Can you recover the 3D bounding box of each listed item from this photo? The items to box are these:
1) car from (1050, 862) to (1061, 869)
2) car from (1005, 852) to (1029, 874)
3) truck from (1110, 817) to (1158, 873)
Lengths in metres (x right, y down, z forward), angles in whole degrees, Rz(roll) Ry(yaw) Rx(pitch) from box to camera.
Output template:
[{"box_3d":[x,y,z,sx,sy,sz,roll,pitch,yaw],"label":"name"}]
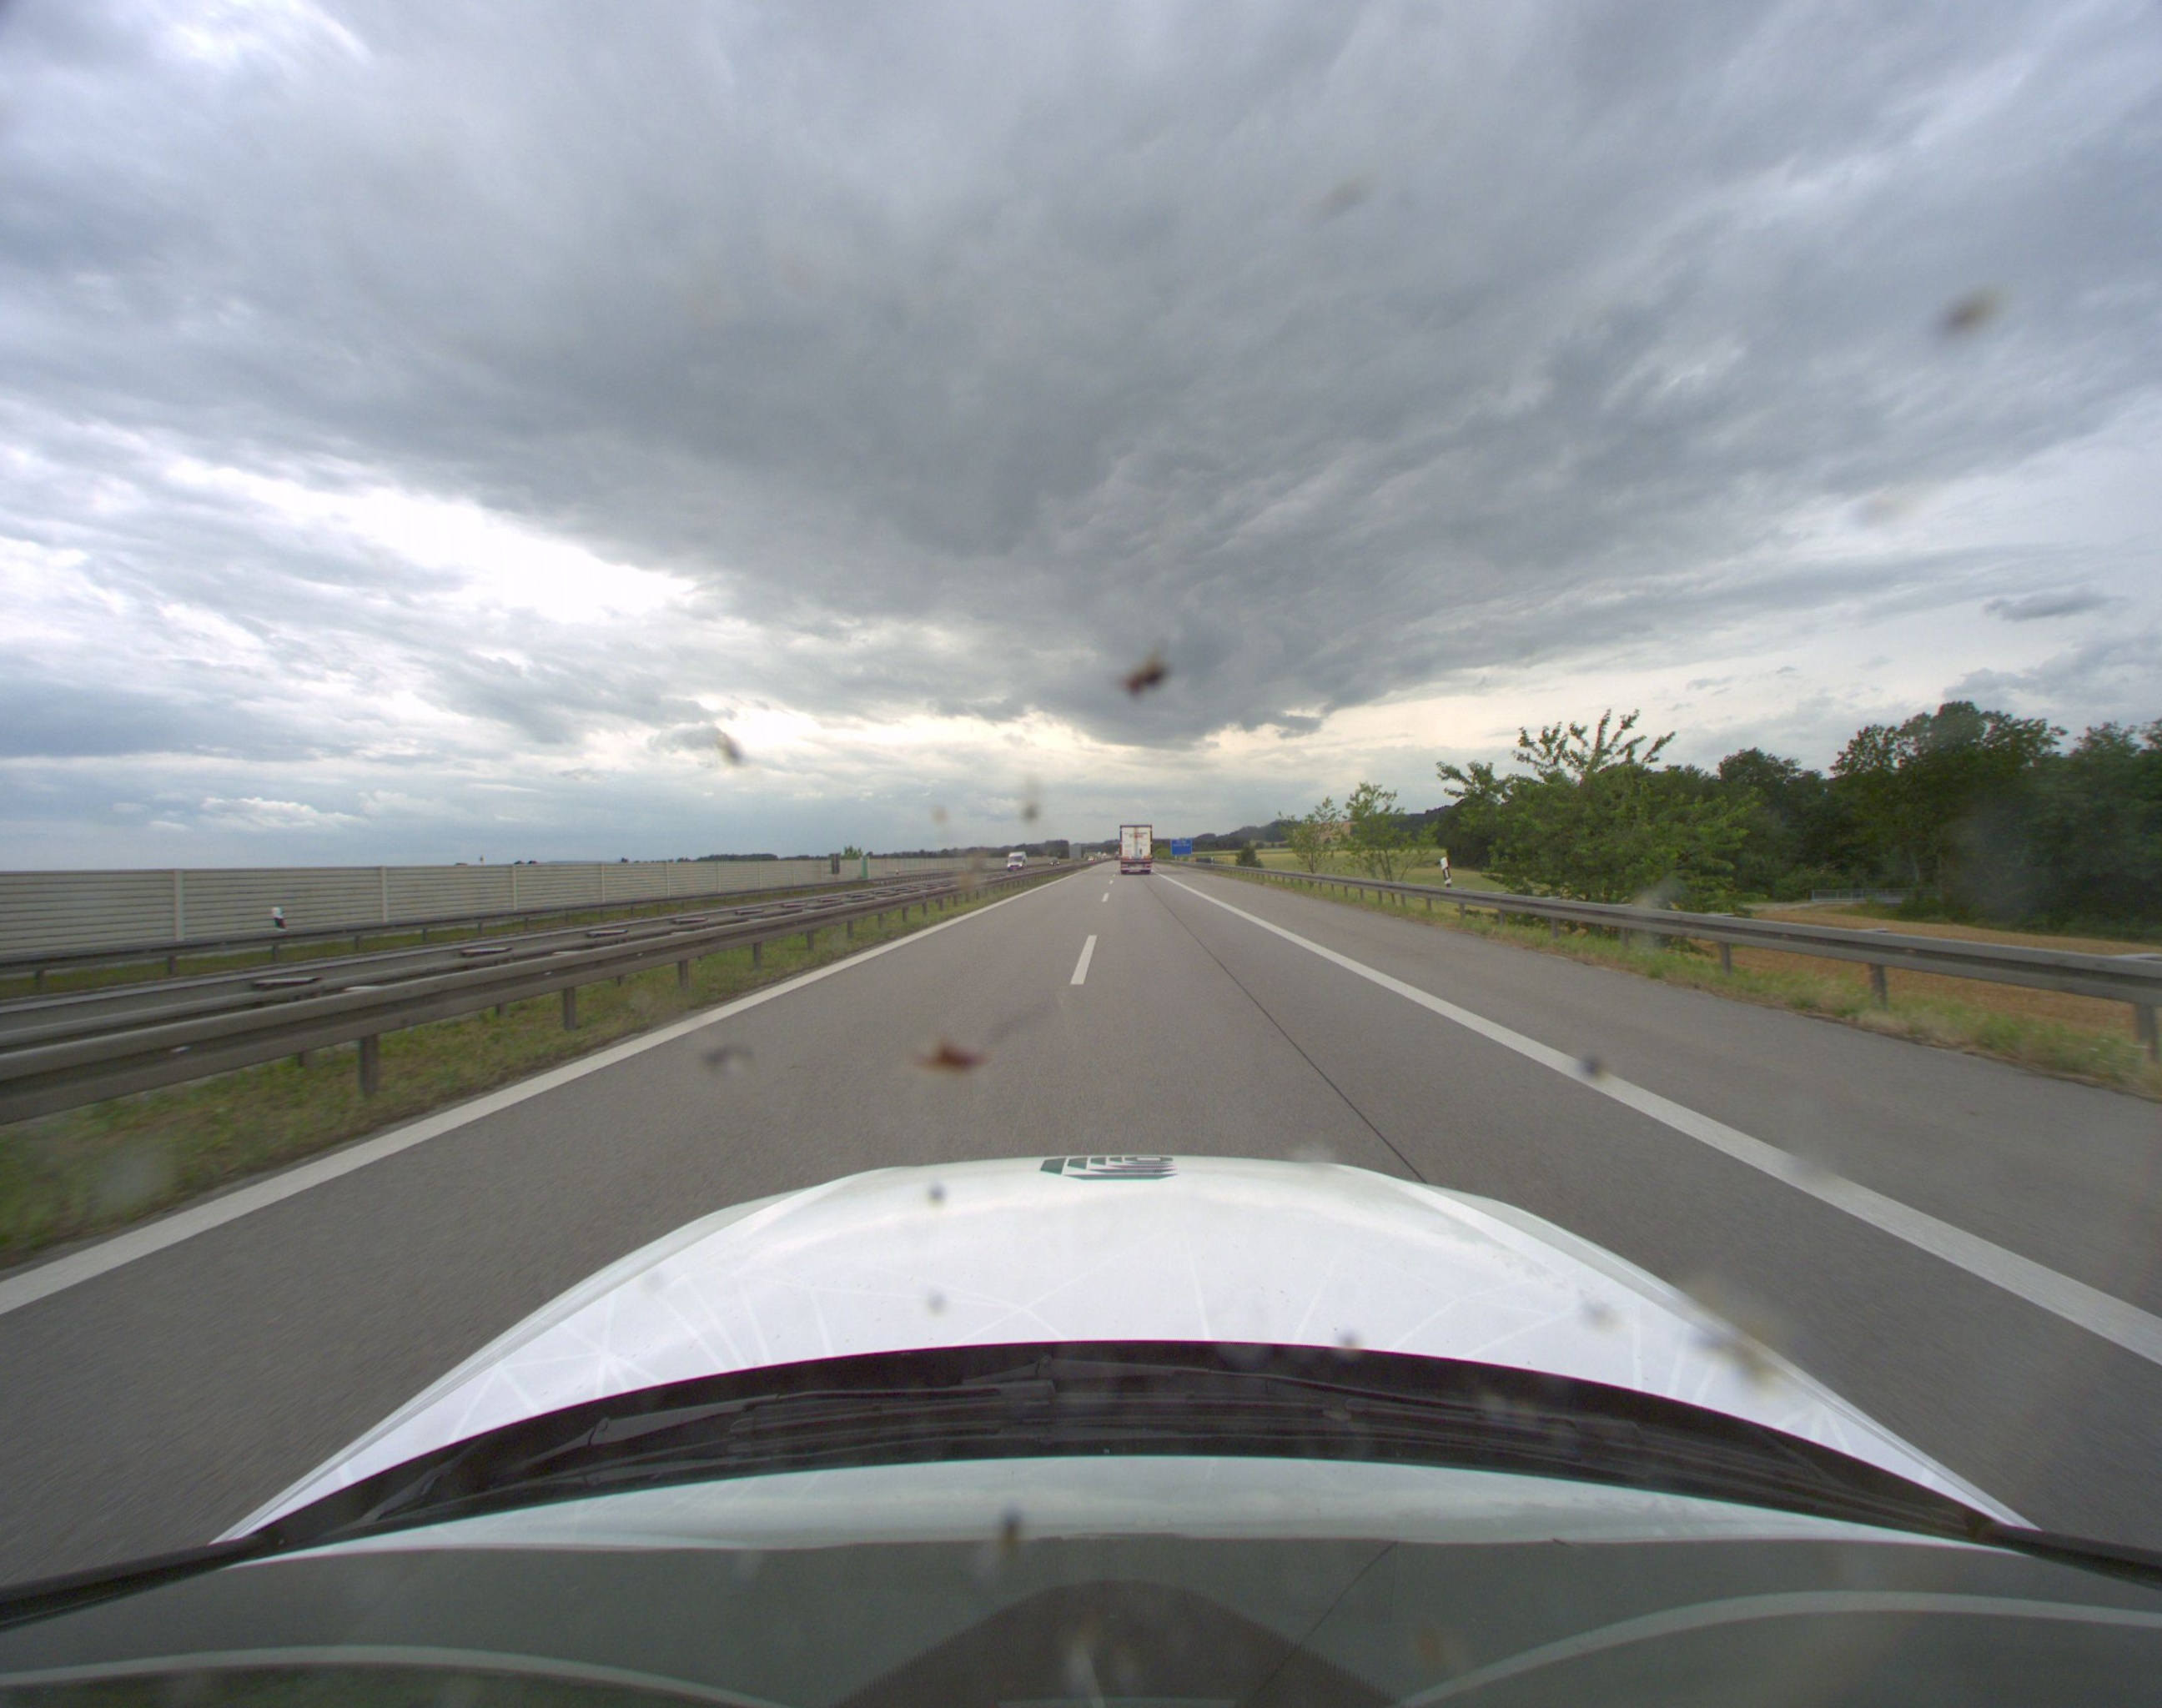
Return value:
[{"box_3d":[-5.041,2.253,160.976,1.664,1.386,4.002,-3,-1,2],"label":"car"},{"box_3d":[-8.111,1.145,103.407,2.062,2.603,6.292,-5,-1,2],"label":"car"},{"box_3d":[4.524,-0.701,73.233,3.658,4.412,16.348,-1,0,2],"label":"truck"}]
